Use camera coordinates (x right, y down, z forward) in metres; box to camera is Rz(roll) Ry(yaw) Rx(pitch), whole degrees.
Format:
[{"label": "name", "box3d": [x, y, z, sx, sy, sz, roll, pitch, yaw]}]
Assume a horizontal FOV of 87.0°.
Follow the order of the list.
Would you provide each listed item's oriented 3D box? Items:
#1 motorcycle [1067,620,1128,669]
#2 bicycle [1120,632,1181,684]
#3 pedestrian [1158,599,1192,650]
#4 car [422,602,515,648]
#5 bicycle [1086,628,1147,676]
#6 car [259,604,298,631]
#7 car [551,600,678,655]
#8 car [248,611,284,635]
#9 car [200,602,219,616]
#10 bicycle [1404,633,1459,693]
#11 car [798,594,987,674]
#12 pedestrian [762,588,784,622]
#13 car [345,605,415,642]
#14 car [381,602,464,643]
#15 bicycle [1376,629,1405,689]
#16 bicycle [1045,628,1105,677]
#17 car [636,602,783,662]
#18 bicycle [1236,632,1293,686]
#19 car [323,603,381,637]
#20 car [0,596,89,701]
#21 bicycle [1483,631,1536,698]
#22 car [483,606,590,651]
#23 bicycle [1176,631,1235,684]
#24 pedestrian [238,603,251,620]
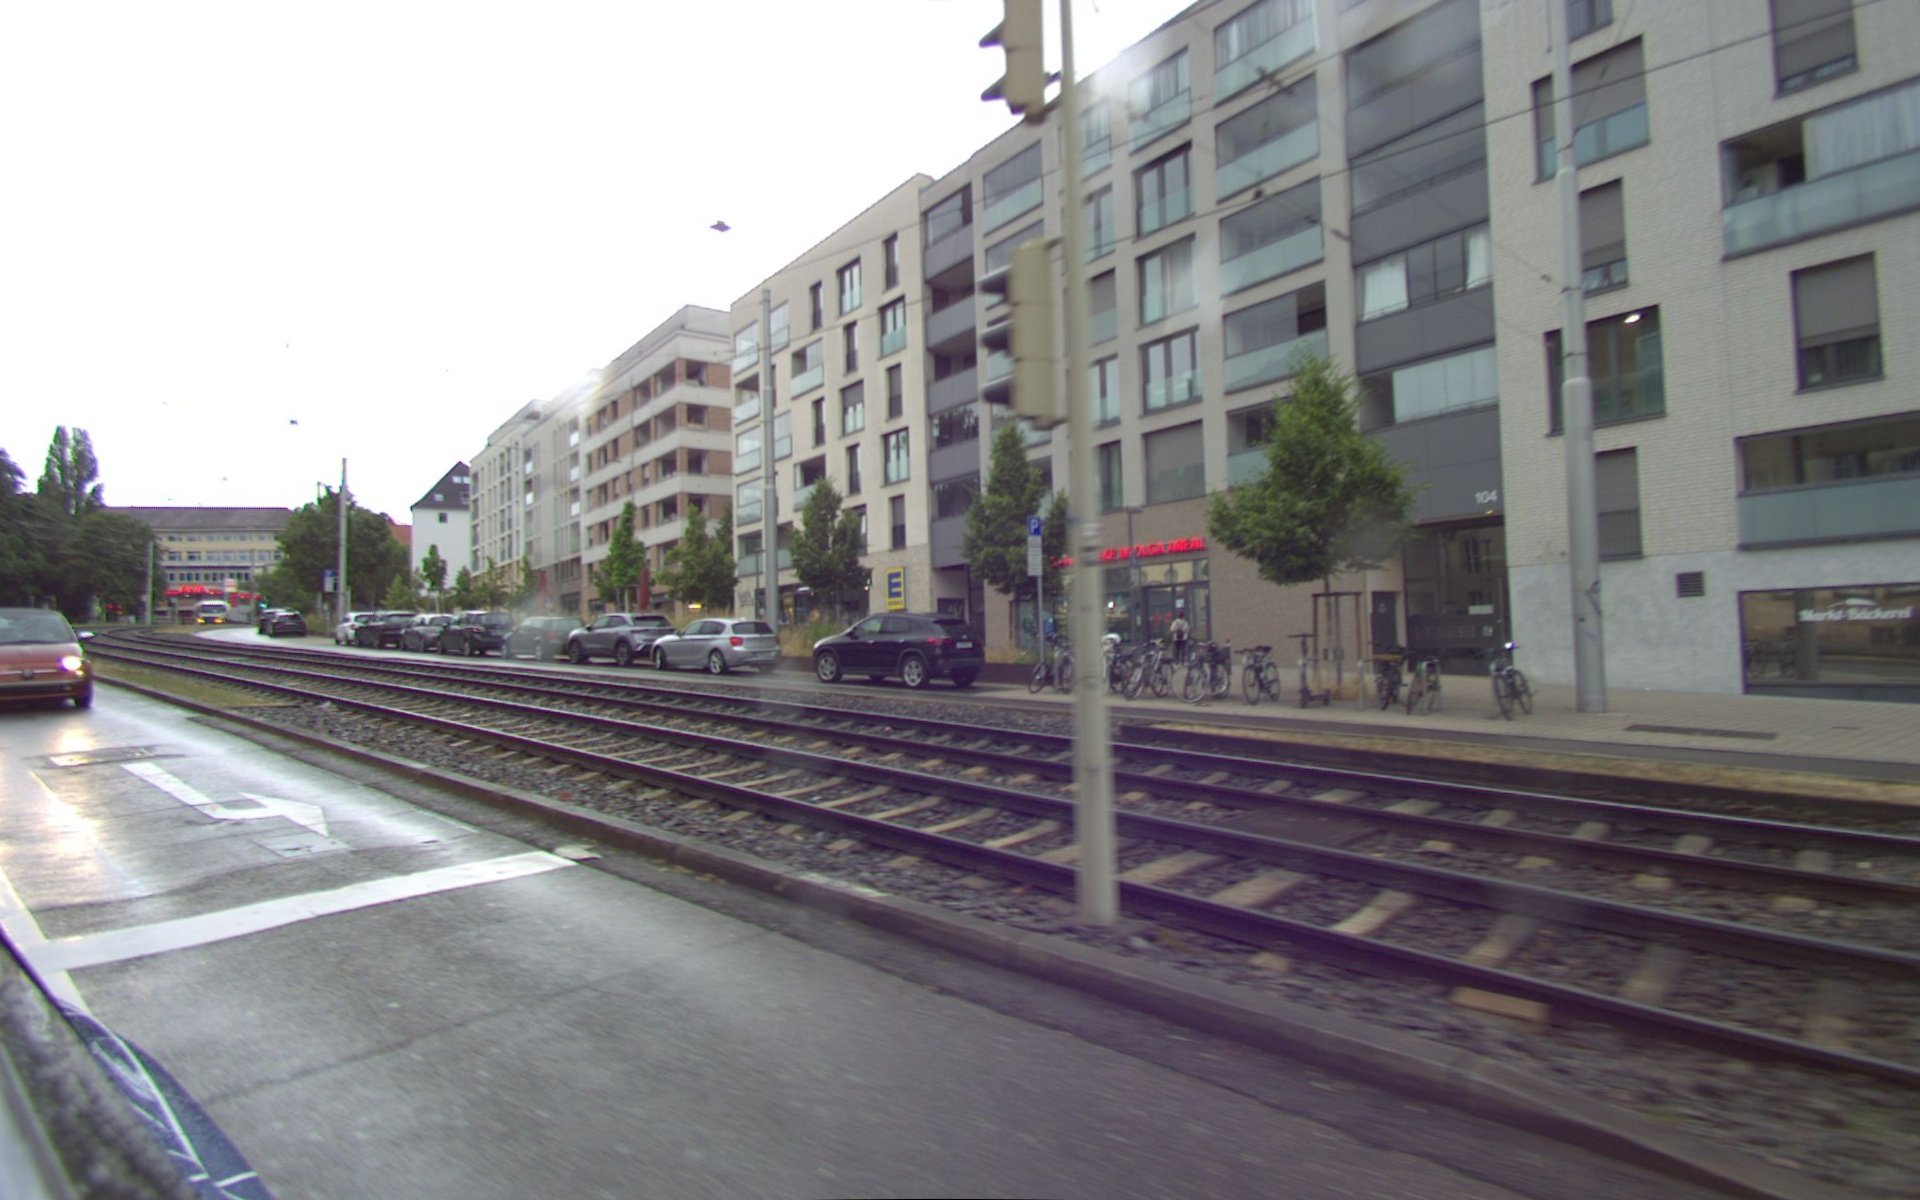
[{"label": "motorcycle", "box3d": [3.164, 1.011, 23.186, 0.542, 1.050, 1.741, 1, -1, 39]}, {"label": "bicycle", "box3d": [3.622, 1.078, 19.141, 0.387, 0.924, 1.766, -1, -1, 38]}, {"label": "pedestrian", "box3d": [6.388, 0.715, 30.072, 0.532, 1.460, 0.805, -2, 1, -35]}, {"label": "car", "box3d": [-17.777, 0.863, 36.569, 3.927, 1.575, 1.662, -1, 0, 42]}, {"label": "bicycle", "box3d": [3.169, 1.047, 20.387, 0.387, 0.925, 1.766, -1, -3, 38]}, {"label": "car", "box3d": [-41.228, 1.035, 61.195, 1.630, 1.475, 3.677, -2, 1, -39]}, {"label": "car", "box3d": [-10.387, 0.794, 30.311, 4.044, 1.541, 1.664, -1, 0, 38]}, {"label": "car", "box3d": [-46.538, 1.529, 67.846, 1.630, 1.475, 3.677, -2, 1, -39]}, {"label": "car", "box3d": [-92.685, 1.141, 124.986, 1.641, 1.619, 3.819, -2, 1, -33]}, {"label": "bicycle", "box3d": [7.844, 1.019, 16.809, 0.387, 0.883, 1.765, -1, 0, 40]}, {"label": "car", "box3d": [-1.575, 0.704, 22.540, 4.328, 1.616, 1.662, -1, 0, 42]}, {"label": "pedestrian", "box3d": [-8.296, 0.226, 44.792, 0.647, 1.460, 0.805, -2, 1, -35]}, {"label": "car", "box3d": [-24.961, 0.970, 43.506, 1.660, 1.516, 4.409, 0, 0, -43]}, {"label": "car", "box3d": [-21.512, 0.869, 40.442, 3.927, 1.516, 1.662, -1, 0, 42]}, {"label": "bicycle", "box3d": [7.494, 1.002, 17.589, 0.385, 0.924, 1.774, -1, 0, 25]}, {"label": "bicycle", "box3d": [2.402, 1.066, 20.961, 0.387, 0.924, 1.766, -1, -1, 38]}, {"label": "car", "box3d": [-6.741, 0.801, 26.997, 4.328, 1.475, 1.662, -1, 0, 42]}, {"label": "bicycle", "box3d": [5.556, 1.050, 18.428, 0.387, 0.924, 1.766, -1, -1, 38]}, {"label": "car", "box3d": [-28.392, 0.924, 47.222, 1.626, 1.516, 3.785, 0, 0, -42]}, {"label": "car", "box3d": [-14.913, 0.706, 15.740, 3.669, 1.475, 1.573, 0, 1, 42]}, {"label": "bicycle", "box3d": [8.645, 0.984, 15.900, 0.440, 0.988, 1.766, -1, -1, 38]}, {"label": "car", "box3d": [-13.943, 0.898, 33.234, 4.032, 1.391, 1.662, -1, 0, 42]}, {"label": "bicycle", "box3d": [4.604, 1.052, 18.899, 0.387, 0.924, 1.766, -1, -1, 38]}, {"label": "pedestrian", "box3d": [-77.704, 1.286, 109.922, 0.805, 1.777, 0.750, 2, -3, -8]}]
